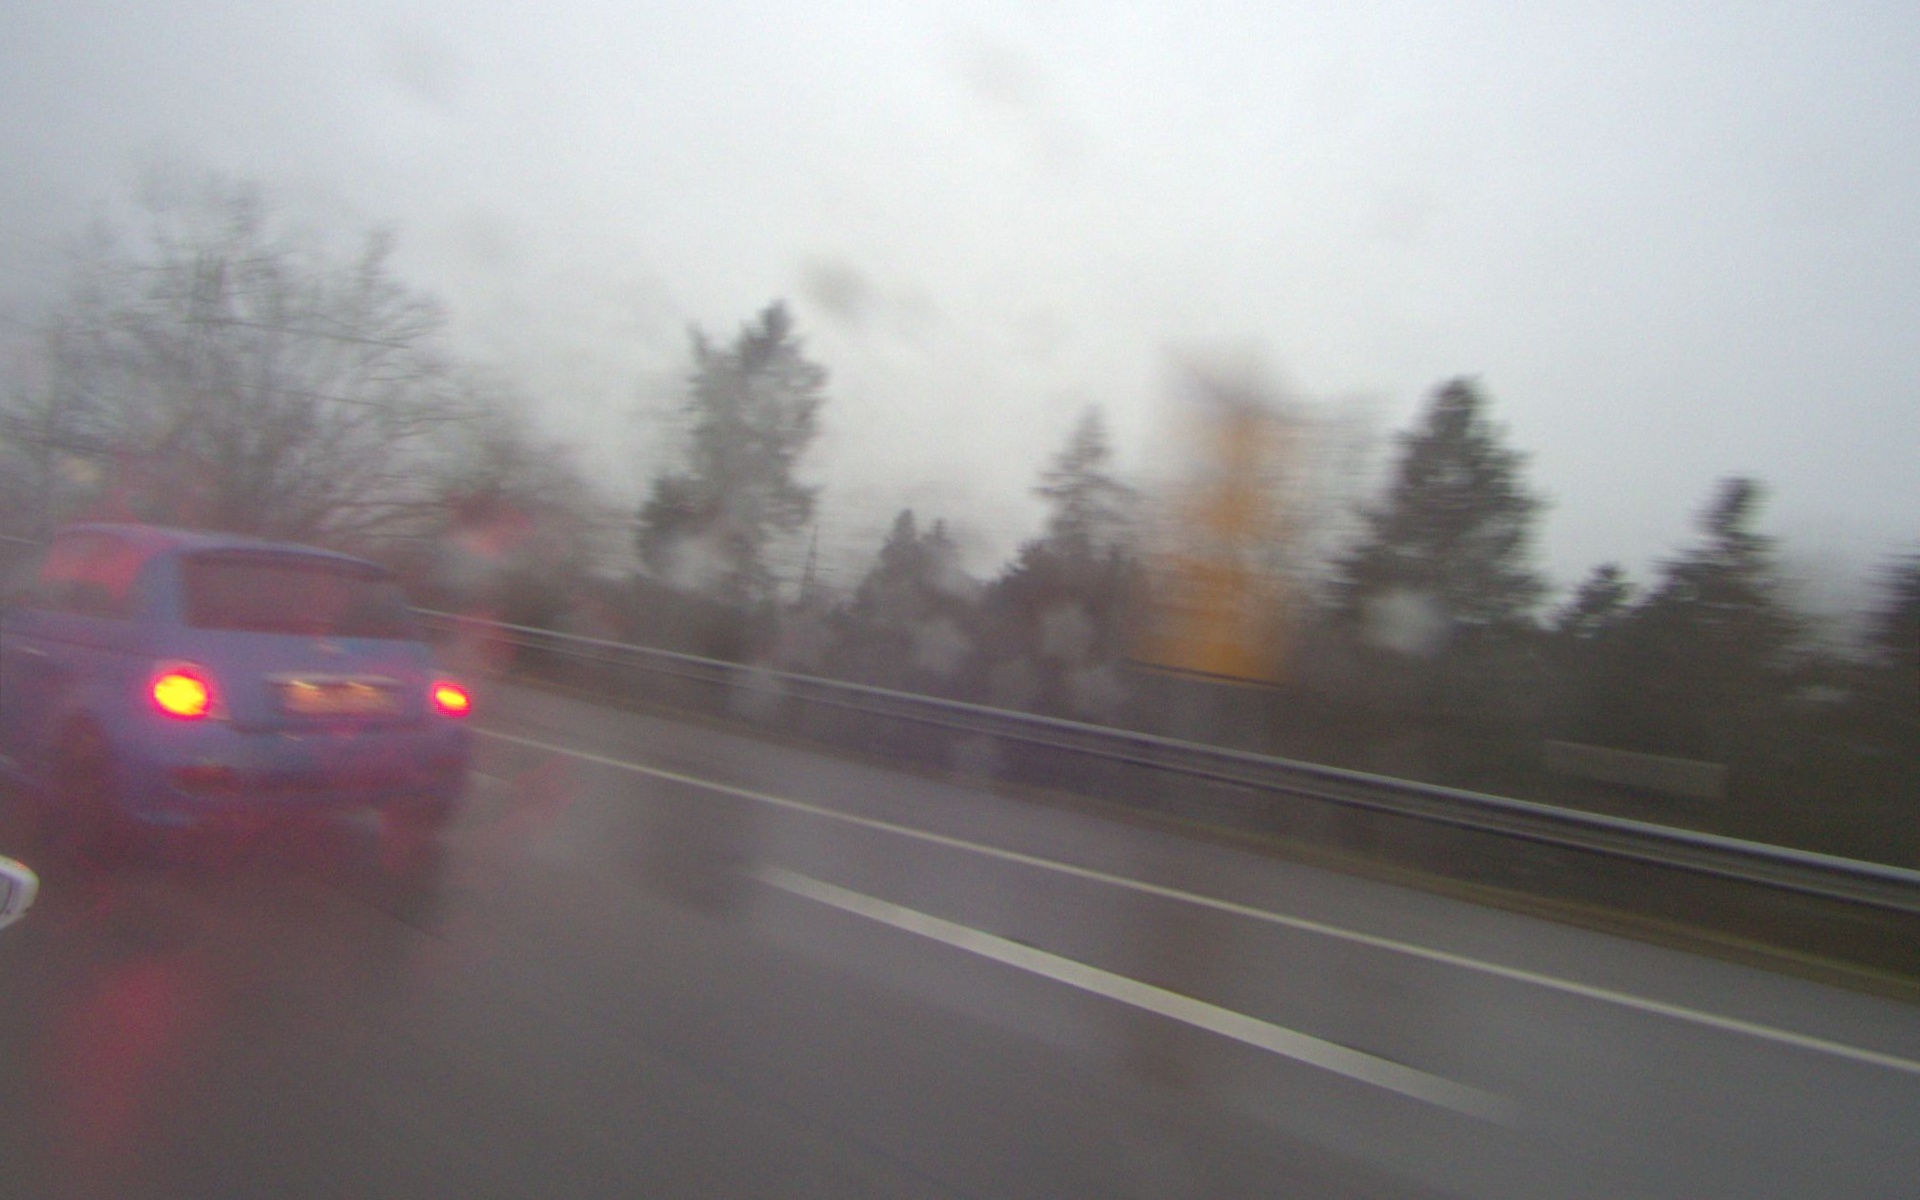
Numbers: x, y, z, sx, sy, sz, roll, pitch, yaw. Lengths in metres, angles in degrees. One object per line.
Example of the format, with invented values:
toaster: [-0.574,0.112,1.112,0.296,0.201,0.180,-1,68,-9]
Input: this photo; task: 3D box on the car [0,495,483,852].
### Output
car: [-5.022,0.219,6.095,4.080,1.471,1.848,6,-1,32]
